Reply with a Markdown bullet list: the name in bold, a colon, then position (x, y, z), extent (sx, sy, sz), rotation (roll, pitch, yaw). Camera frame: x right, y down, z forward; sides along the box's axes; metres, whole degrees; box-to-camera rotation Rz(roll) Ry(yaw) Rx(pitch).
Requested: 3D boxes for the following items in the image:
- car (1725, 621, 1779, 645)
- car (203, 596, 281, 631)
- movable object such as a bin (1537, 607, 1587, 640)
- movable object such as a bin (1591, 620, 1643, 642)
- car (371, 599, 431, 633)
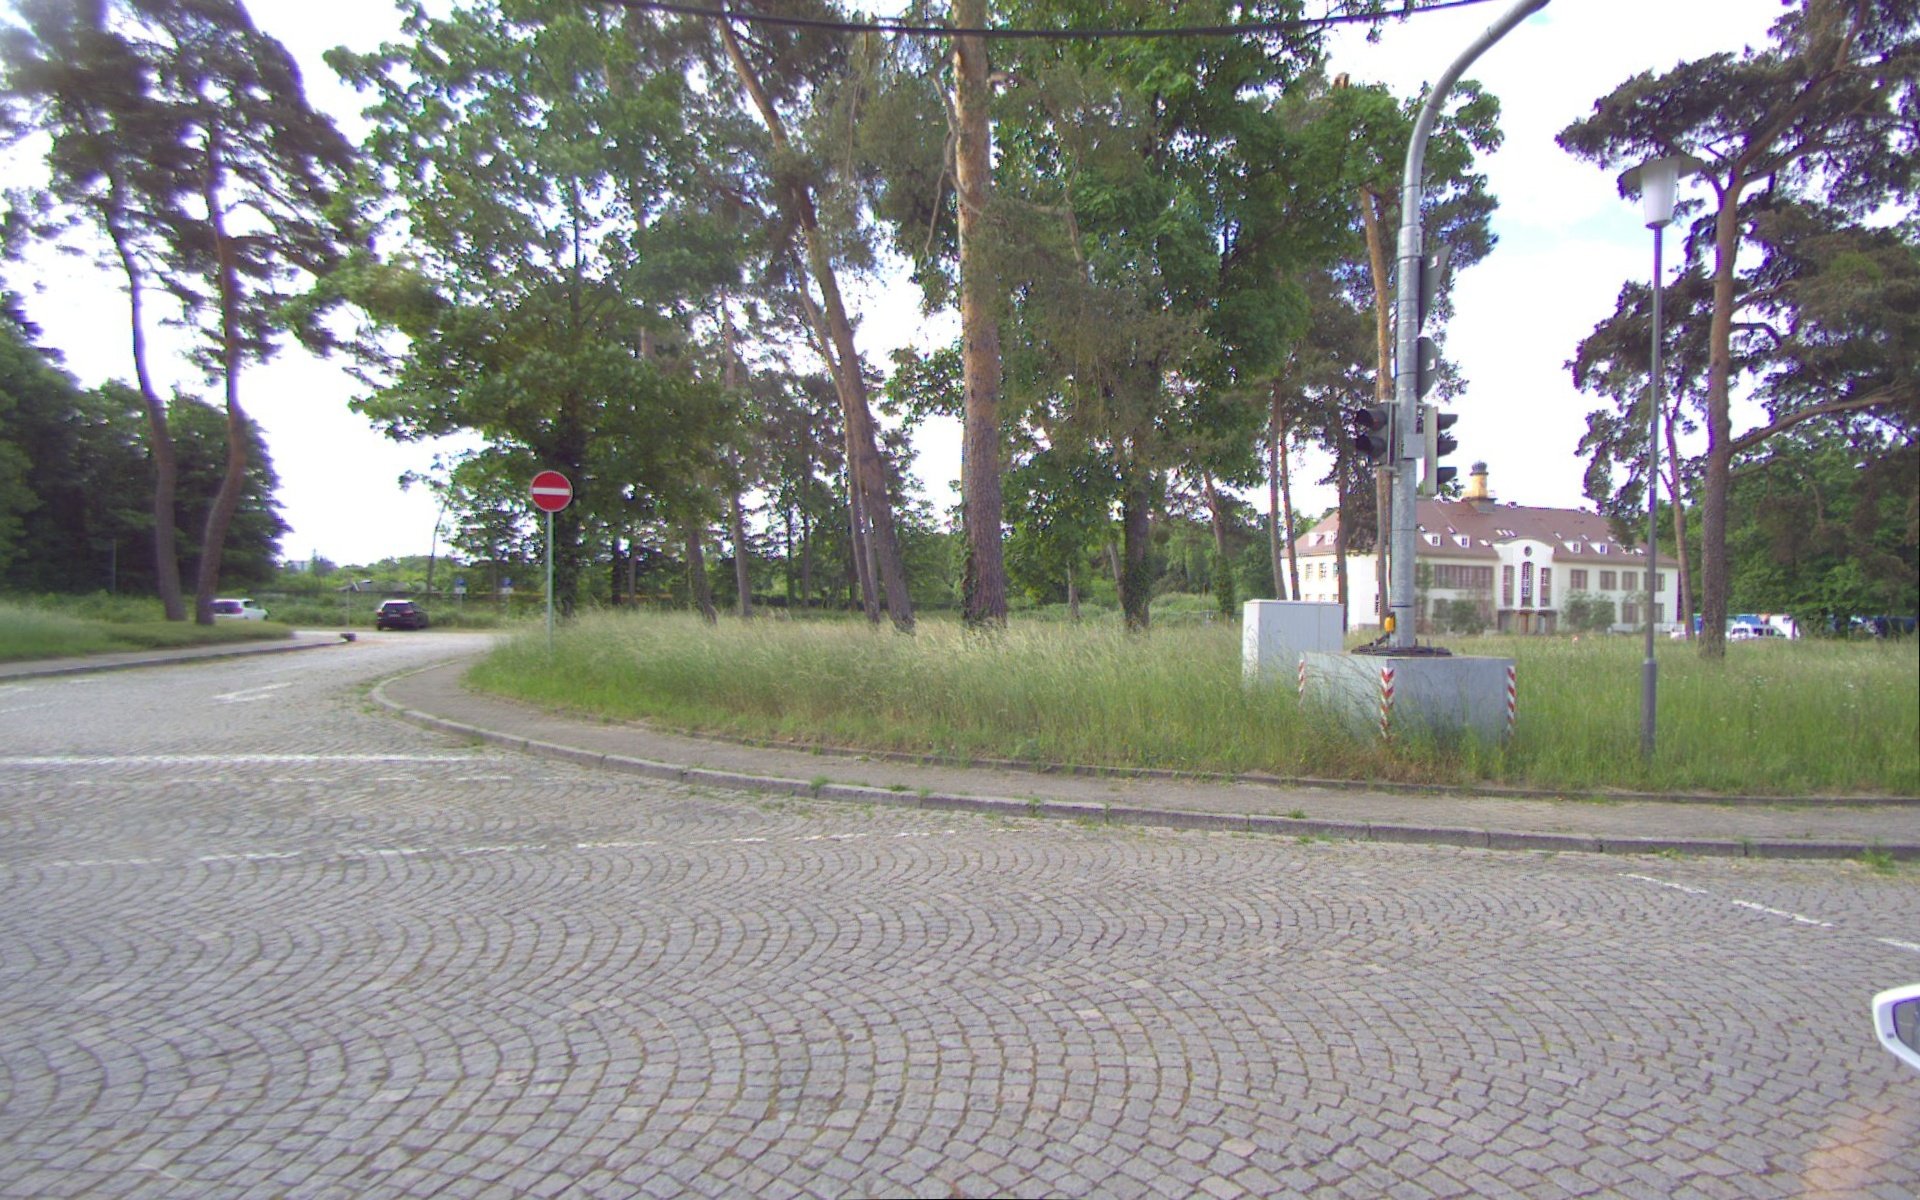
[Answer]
- **car**: position (75.998, 3.143, 96.393), extent (4.276, 2.122, 2.061), rotation (3, -2, -17)
- **car**: position (-36.073, 0.664, 50.597), extent (1.687, 1.632, 4.048), rotation (3, -1, -13)
- **movable object such as a bin**: position (69.987, 2.748, 116.846), extent (2.099, 3.689, 6.137), rotation (2, -1, 1)
- **movable object such as a bin**: position (72.985, 3.469, 111.652), extent (2.338, 2.283, 4.512), rotation (3, -1, -12)
- **car**: position (-28.927, 0.797, 52.108), extent (1.688, 1.632, 4.046), rotation (3, -1, -14)
